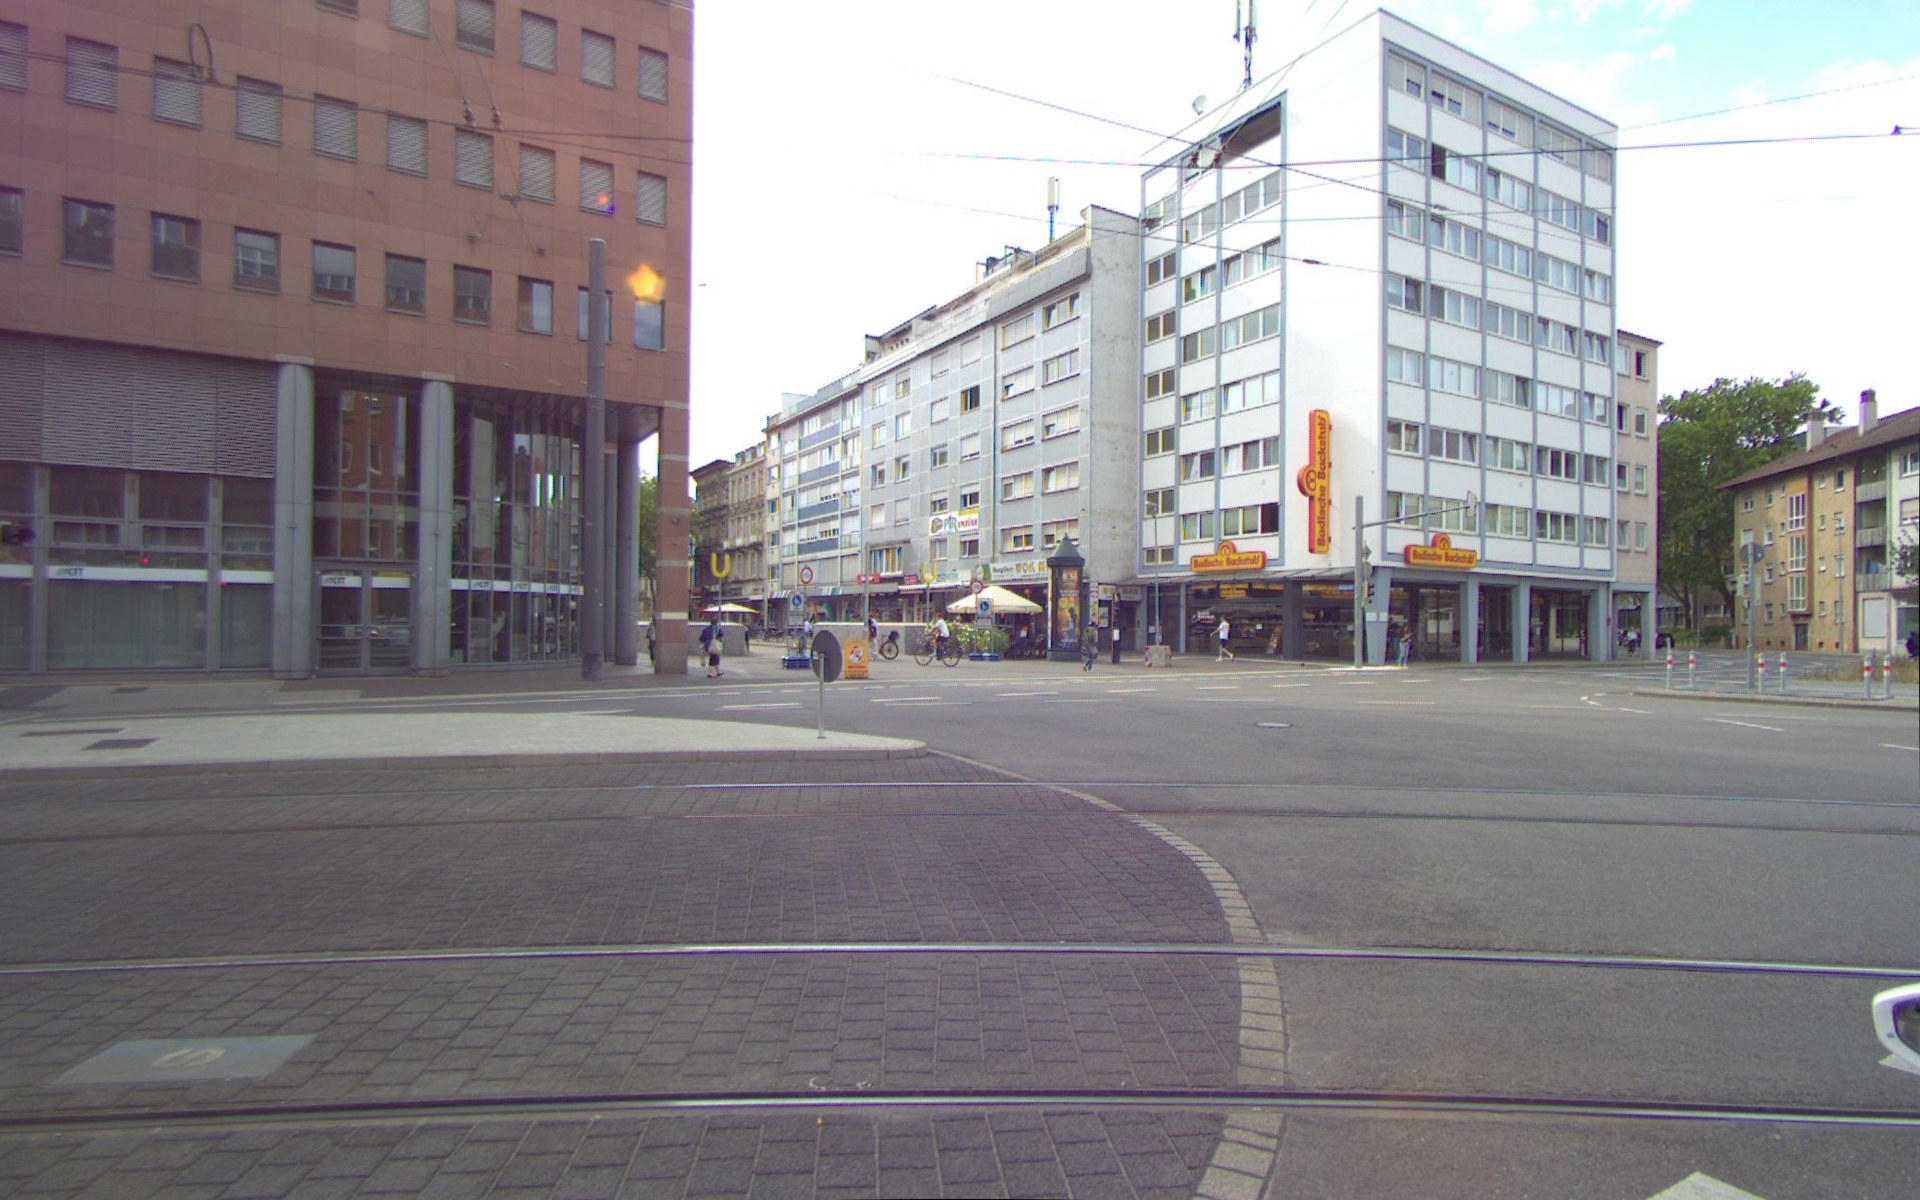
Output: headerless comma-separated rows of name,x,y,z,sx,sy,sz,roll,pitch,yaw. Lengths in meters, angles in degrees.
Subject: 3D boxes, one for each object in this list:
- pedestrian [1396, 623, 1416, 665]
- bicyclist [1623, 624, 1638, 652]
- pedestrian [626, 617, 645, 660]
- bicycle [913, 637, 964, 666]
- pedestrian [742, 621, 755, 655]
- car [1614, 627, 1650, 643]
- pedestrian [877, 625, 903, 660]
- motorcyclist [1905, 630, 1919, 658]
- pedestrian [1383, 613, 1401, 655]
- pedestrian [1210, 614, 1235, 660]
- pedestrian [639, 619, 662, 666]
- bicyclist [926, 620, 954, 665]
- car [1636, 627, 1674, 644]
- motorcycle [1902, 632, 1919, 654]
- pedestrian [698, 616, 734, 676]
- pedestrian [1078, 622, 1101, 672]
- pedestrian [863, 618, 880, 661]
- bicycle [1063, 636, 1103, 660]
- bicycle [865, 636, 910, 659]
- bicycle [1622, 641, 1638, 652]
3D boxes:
pedestrian,16.904,1.675,38.105,0.512,1.580,0.496,1,-1,-31
bicyclist,41.840,2.364,62.688,0.598,1.668,1.037,0,-1,23
pedestrian,-12.749,1.520,39.466,0.574,1.685,0.517,1,-1,-30
bicycle,-0.761,1.832,35.782,1.753,1.002,0.473,0,-1,20
pedestrian,-10.116,1.810,48.012,0.514,1.598,0.503,1,-1,-28
car,65.310,3.429,97.672,1.629,1.441,3.948,0,0,14
pedestrian,-2.843,1.723,40.868,0.847,1.393,0.633,0,-1,18
motorcyclist,45.808,2.098,48.103,0.514,1.330,0.677,0,-1,17
pedestrian,18.409,1.442,42.829,0.582,1.788,0.473,0,0,-31
pedestrian,10.852,1.520,41.569,0.574,1.883,0.857,1,-1,-31
pedestrian,-10.010,1.376,32.470,0.574,1.492,0.650,1,-1,-29
bicyclist,-0.707,1.505,35.671,0.866,1.590,0.547,0,-1,20
car,64.004,3.223,92.572,1.629,1.441,3.868,0,0,14
motorcycle,45.813,2.076,48.194,0.332,1.021,1.266,0,-1,16
pedestrian,-6.181,1.160,25.445,0.676,1.492,0.793,1,-1,-30
pedestrian,4.256,1.547,32.991,0.647,1.615,0.689,0,-1,17
pedestrian,-3.511,1.556,39.869,0.458,1.663,0.633,0,-1,21
bicycle,5.418,2.111,44.260,1.759,1.002,0.472,0,-1,36
bicycle,-2.956,1.939,40.859,1.753,0.900,0.473,0,-1,20
bicycle,41.921,2.903,62.878,0.476,0.596,1.997,0,-1,23
